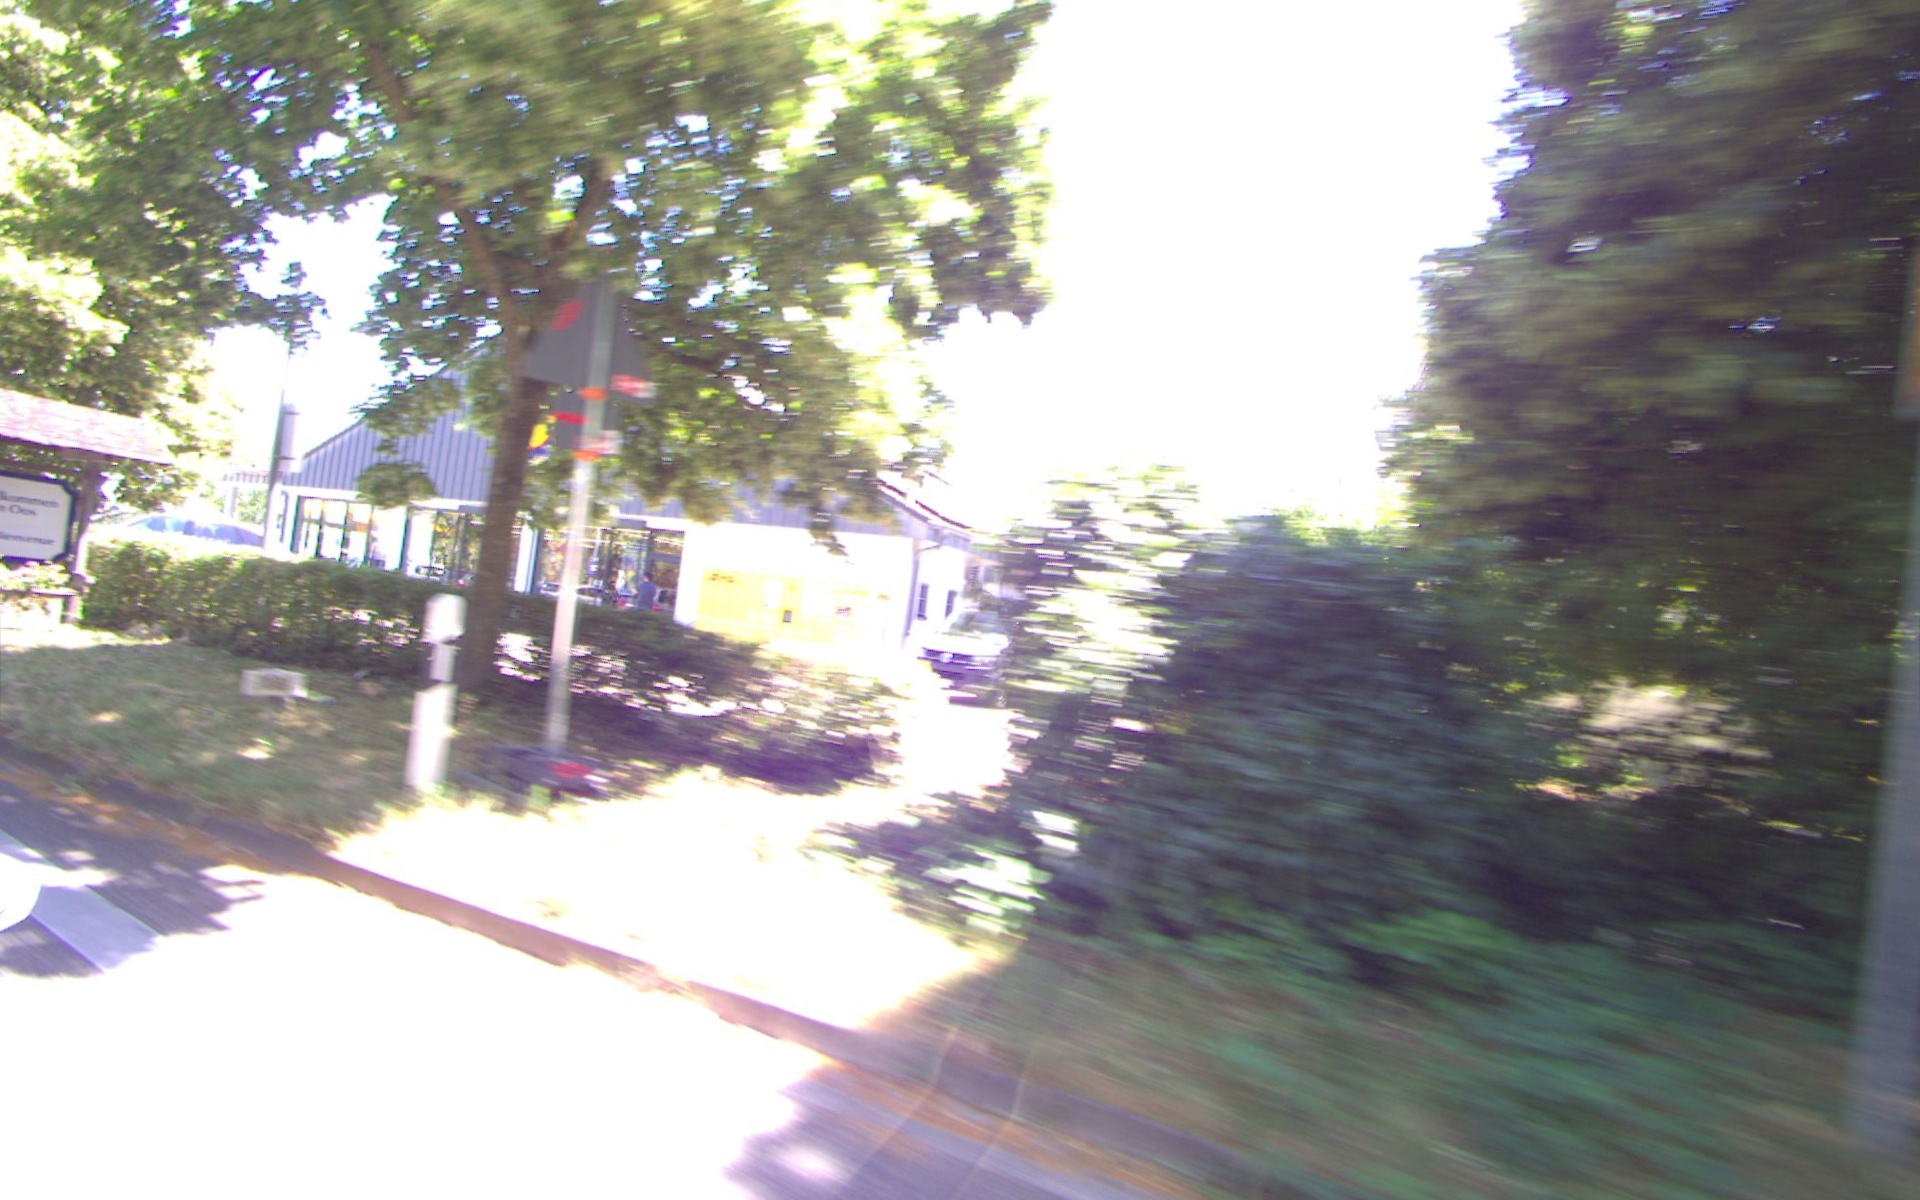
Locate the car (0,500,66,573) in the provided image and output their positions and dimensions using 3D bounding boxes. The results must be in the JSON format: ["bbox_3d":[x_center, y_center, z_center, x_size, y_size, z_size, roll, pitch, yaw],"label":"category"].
[{"bbox_3d":[-23.532,-1.699,22.864,1.800,1.556,4.399,6,-1,31],"label":"car"}]

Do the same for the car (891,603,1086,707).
[{"bbox_3d":[0.783,1.129,21.246,1.888,1.789,5.249,5,0,28],"label":"car"}]

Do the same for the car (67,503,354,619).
[{"bbox_3d":[-14.234,-0.682,19.345,1.767,1.582,3.944,6,-3,31],"label":"car"}]

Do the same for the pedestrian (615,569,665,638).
[{"bbox_3d":[-7.590,0.081,23.895,0.773,1.522,0.610,7,1,12],"label":"pedestrian"}]
